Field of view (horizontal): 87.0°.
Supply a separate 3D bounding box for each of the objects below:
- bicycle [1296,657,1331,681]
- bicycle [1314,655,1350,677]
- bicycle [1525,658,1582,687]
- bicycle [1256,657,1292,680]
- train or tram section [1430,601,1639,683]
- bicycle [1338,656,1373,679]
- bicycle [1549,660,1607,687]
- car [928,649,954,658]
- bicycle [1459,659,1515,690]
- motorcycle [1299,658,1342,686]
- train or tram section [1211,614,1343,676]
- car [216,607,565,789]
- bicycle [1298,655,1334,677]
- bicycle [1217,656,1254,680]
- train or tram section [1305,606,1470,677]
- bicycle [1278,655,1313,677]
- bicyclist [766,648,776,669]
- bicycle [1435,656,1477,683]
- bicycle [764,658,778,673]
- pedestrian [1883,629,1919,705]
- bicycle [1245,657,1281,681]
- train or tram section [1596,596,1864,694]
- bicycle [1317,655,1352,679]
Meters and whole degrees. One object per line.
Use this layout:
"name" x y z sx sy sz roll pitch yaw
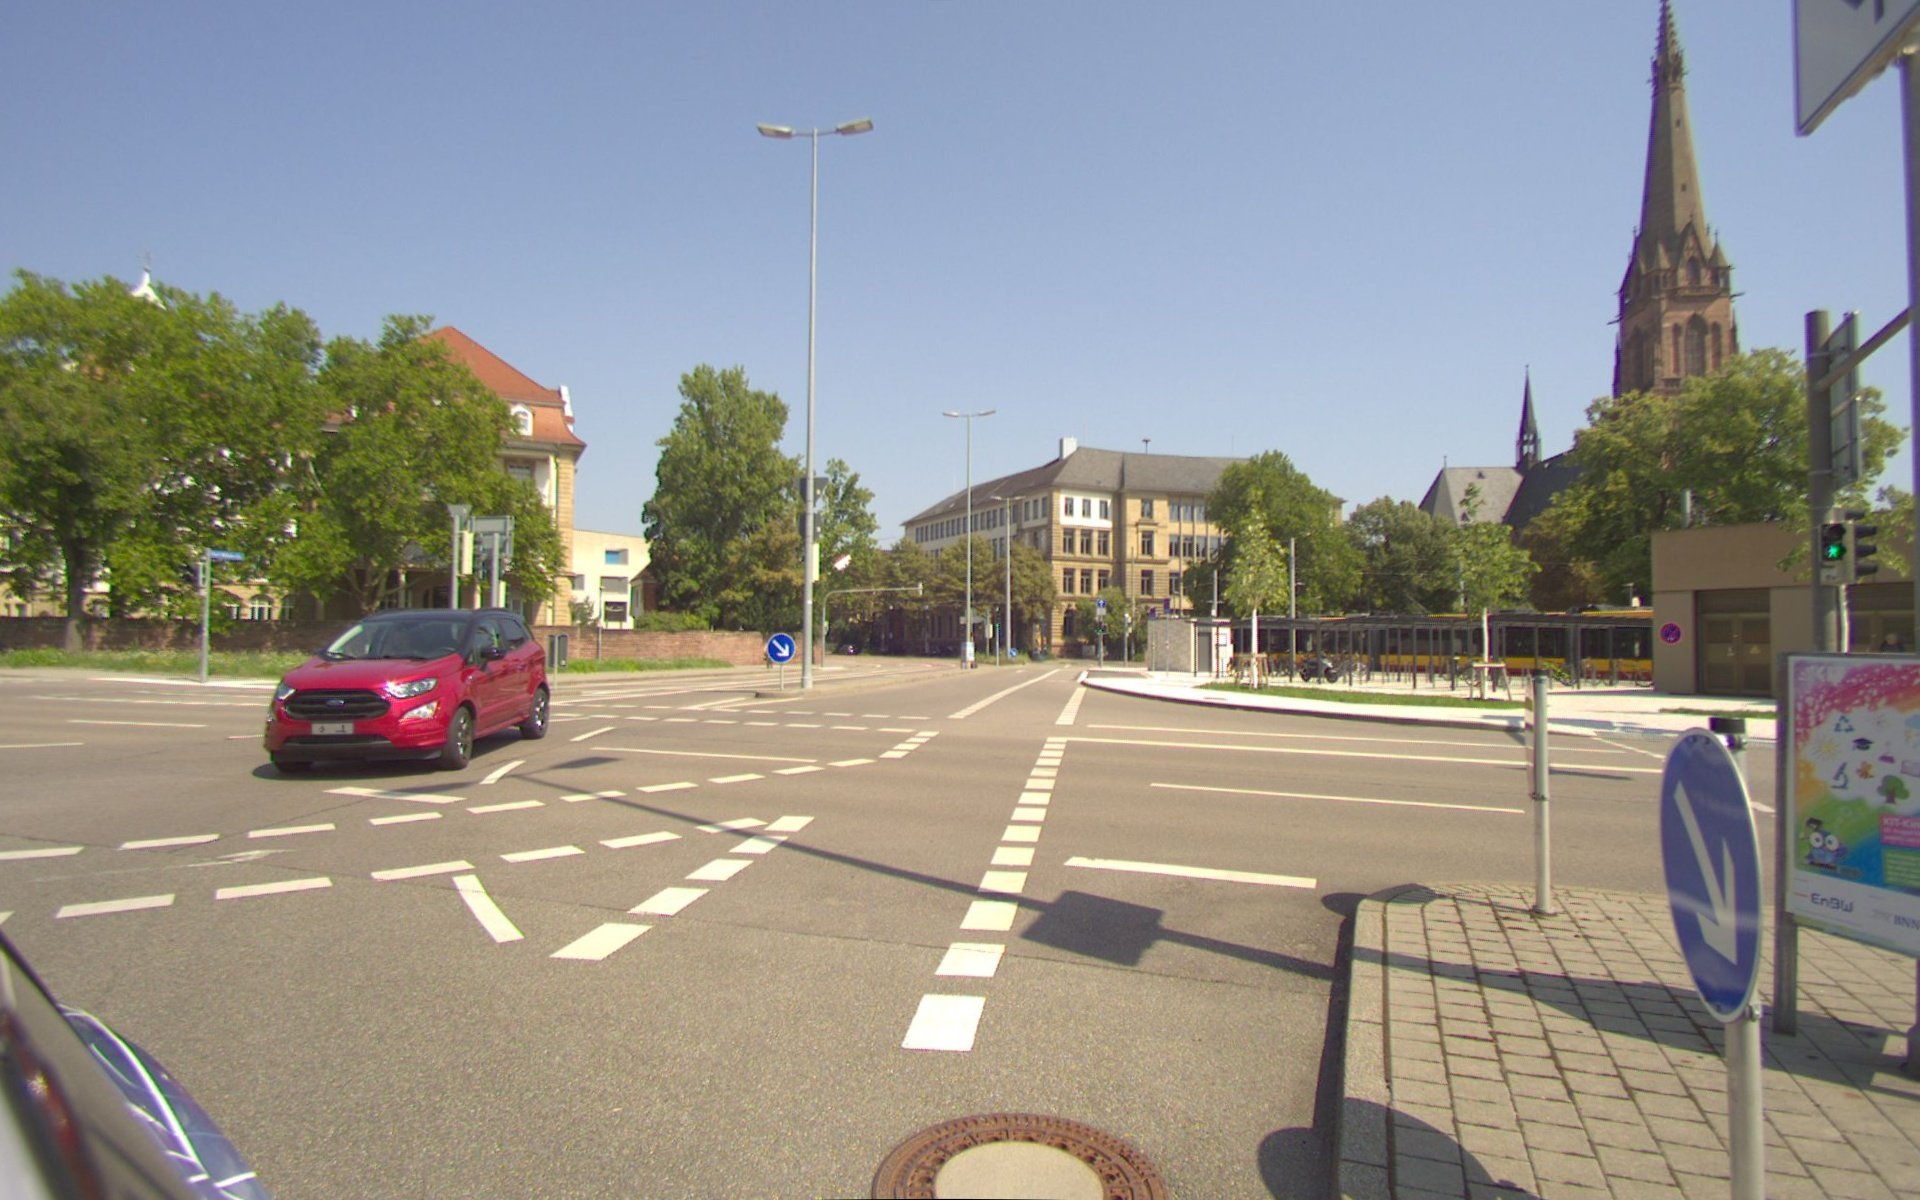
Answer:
"bicycle" 15.756 3.067 45.143 0.406 1.048 1.646 2 -4 -25
"bicycle" 17.924 3.171 48.807 0.518 1.048 1.776 2 -4 -25
"bicycle" 22.003 2.677 37.562 0.505 1.048 1.738 3 -4 -39
"bicycle" 14.459 3.153 46.640 0.518 1.048 1.776 2 -4 -25
"train or tram section" 27.815 2.157 49.603 3.107 3.625 8.553 3 -5 -27
"bicycle" 18.021 3.075 46.118 0.406 1.048 1.646 2 -4 -25
"bicycle" 23.429 2.773 38.377 0.504 0.993 1.862 2 -4 -29
"car" -2.408 6.742 127.918 3.006 1.185 1.255 2 -4 -31
"bicycle" 18.907 2.662 36.353 0.505 1.048 1.739 3 -4 -34
"motorcycle" 14.267 2.844 40.096 0.483 1.077 1.785 2 -4 -24
"train or tram section" 20.052 2.969 64.702 3.083 3.588 8.354 3 -5 -27
"car" -5.883 0.911 11.094 1.817 1.627 4.004 1 -1 -5
"bicycle" 16.958 3.128 48.194 0.518 1.048 1.776 2 -4 -25
"bicycle" 12.576 3.090 46.216 0.518 1.090 1.871 2 -4 -25
"train or tram section" 23.914 2.451 57.200 3.107 3.625 8.553 3 -5 -27
"bicycle" 15.776 3.098 47.621 0.518 1.048 1.776 2 -4 -25
"bicyclist" -11.283 3.492 60.377 0.428 1.242 0.539 0 -3 5
"bicycle" 20.353 2.842 41.526 0.406 1.048 1.646 2 -4 -25
"bicycle" -11.285 3.902 60.356 0.432 0.818 1.483 0 -2 5
"pedestrian" 21.561 1.518 23.073 0.559 1.691 0.538 2 -4 -28
"bicycle" 13.856 3.141 46.292 0.518 1.048 1.776 2 -4 -25
"train or tram section" 31.651 1.976 42.141 3.107 3.625 8.271 3 -5 -27
"bicycle" 16.780 3.015 45.409 0.406 1.048 1.646 2 -4 -25
